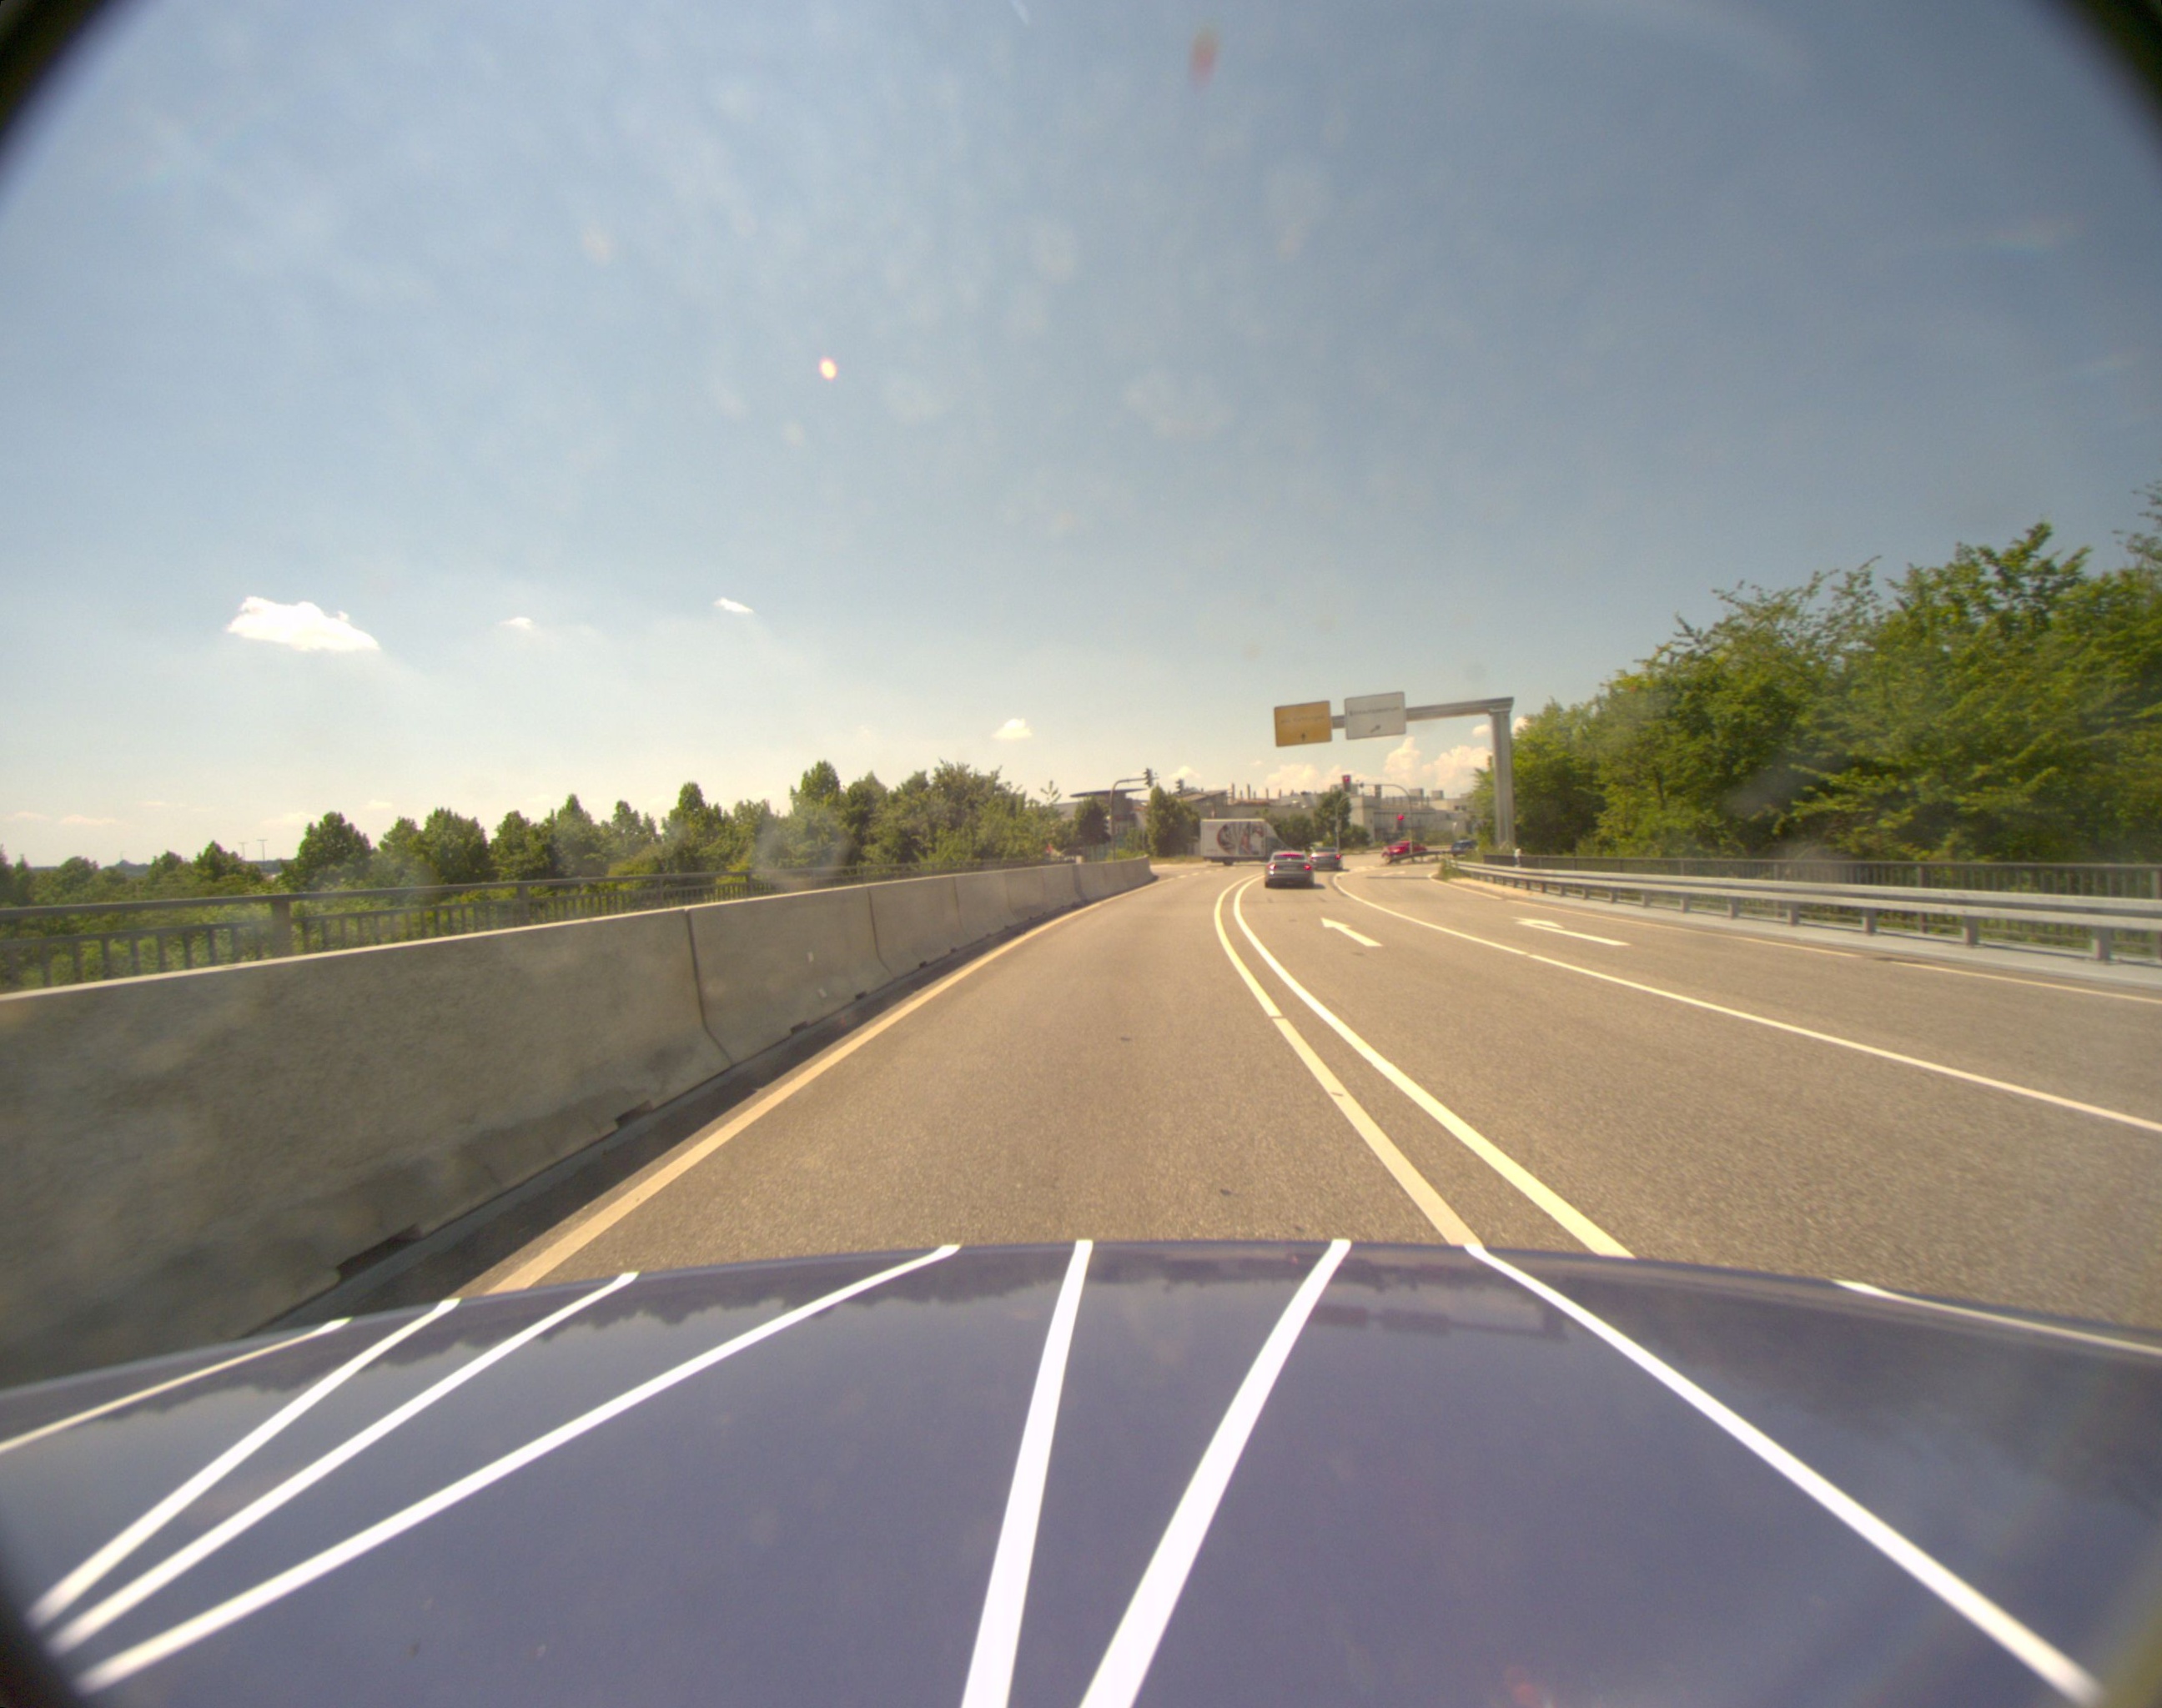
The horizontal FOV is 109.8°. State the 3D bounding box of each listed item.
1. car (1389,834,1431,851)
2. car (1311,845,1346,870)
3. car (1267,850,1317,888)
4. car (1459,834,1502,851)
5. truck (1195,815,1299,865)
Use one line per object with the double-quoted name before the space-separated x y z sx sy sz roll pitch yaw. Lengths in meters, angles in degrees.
"car" 29.873 -1.065 68.991 4.458 1.381 1.661 -3 3 -39
"car" 14.717 0.161 45.078 1.647 1.344 3.974 1 1 23
"car" 8.338 0.555 30.052 1.781 1.376 4.286 -1 1 16
"car" 34.854 -1.017 66.289 4.498 1.454 1.708 -2 3 -40
"truck" 12.136 -1.046 55.860 7.191 3.330 2.416 -2 4 10
